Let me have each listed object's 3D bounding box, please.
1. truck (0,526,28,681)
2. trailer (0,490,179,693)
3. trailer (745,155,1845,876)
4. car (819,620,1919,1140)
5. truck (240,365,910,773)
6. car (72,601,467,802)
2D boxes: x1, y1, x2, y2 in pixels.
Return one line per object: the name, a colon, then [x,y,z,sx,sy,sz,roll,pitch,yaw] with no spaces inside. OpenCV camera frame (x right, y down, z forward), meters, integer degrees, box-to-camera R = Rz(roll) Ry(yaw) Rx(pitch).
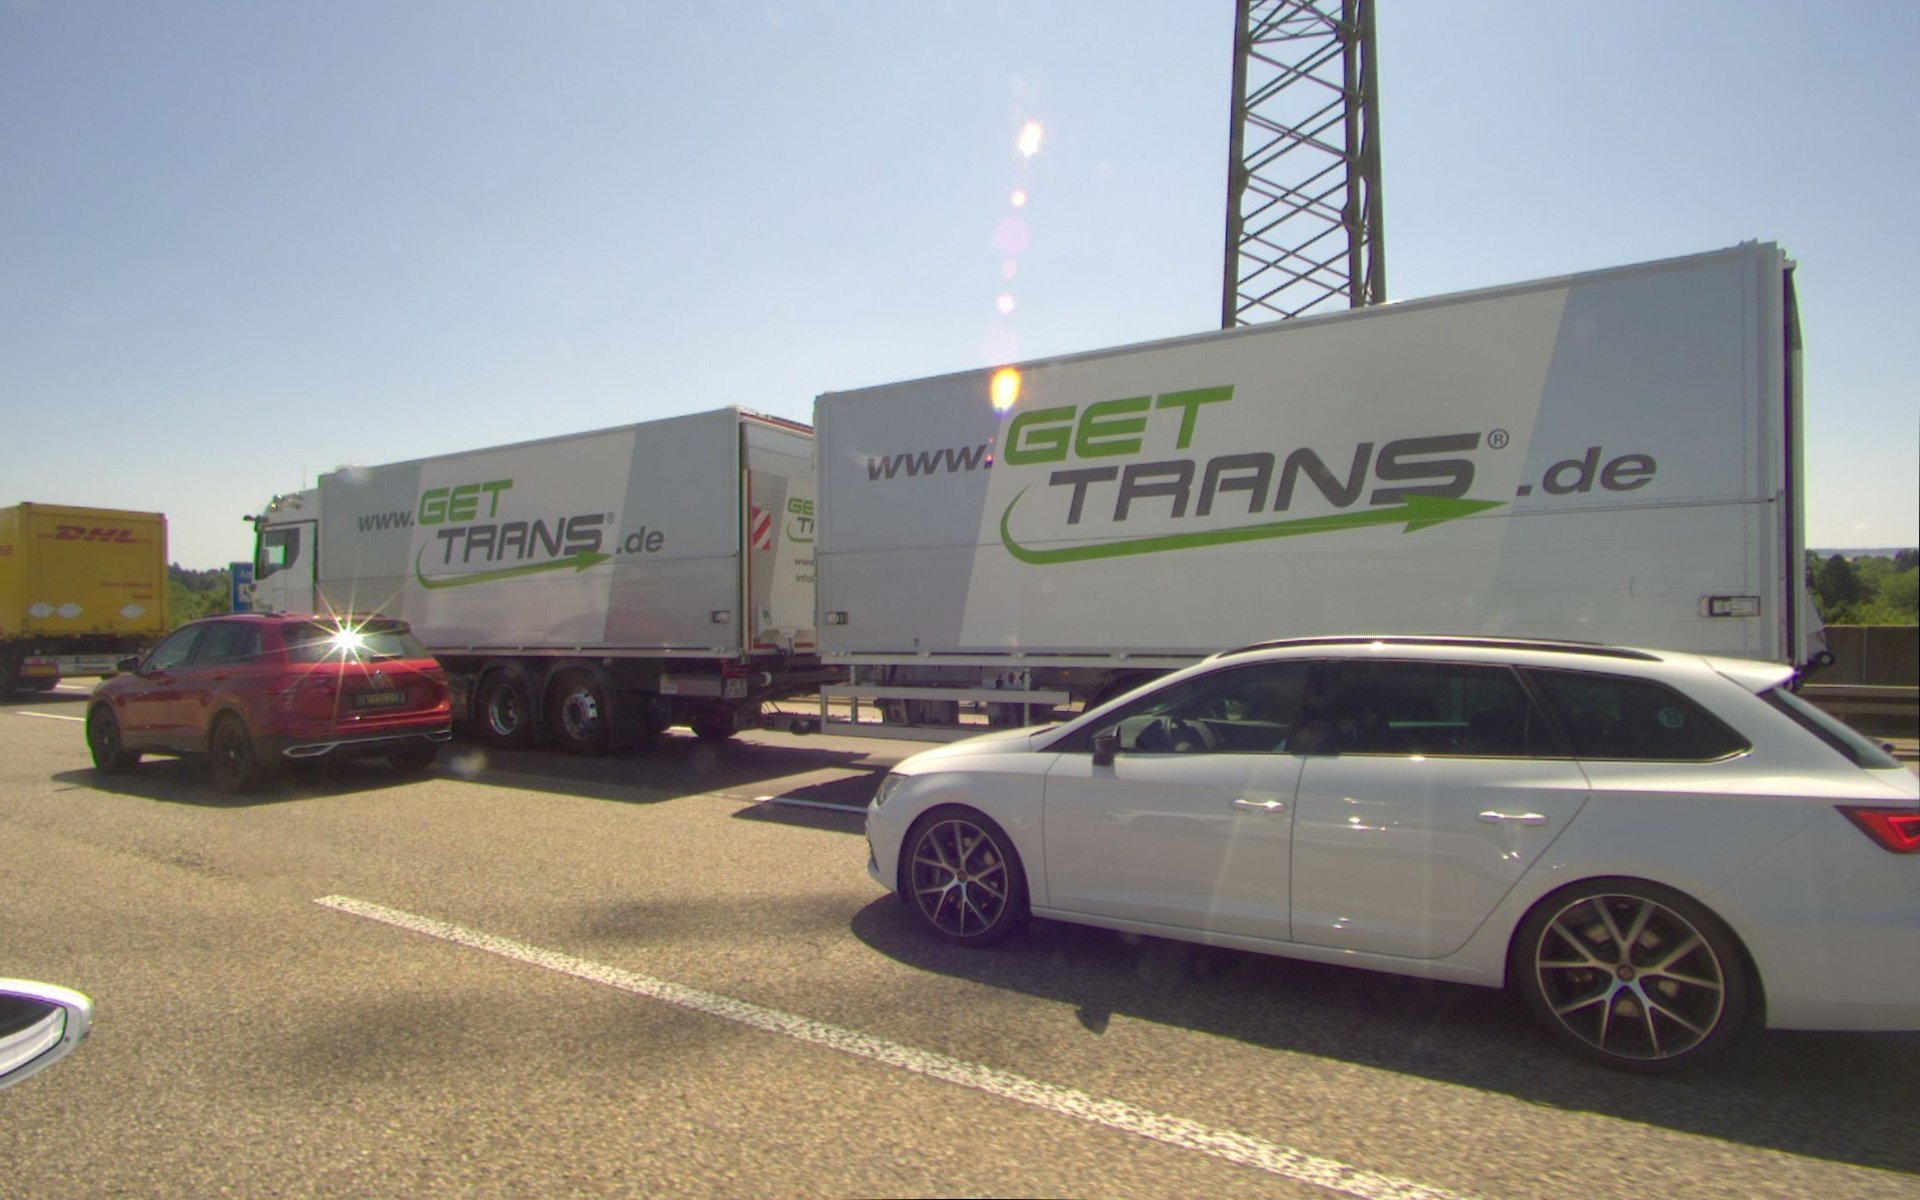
truck: [-30.252,0.183,28.598,9.795,4.139,2.696,-1,-2,31]
trailer: [-22.208,-0.025,23.826,8.849,4.139,2.679,-1,-2,31]
trailer: [2.088,-0.334,8.840,8.096,3.940,2.894,-1,-2,32]
car: [1.601,0.839,4.547,4.364,1.470,1.706,-1,-2,32]
truck: [-5.791,-0.139,13.748,10.457,3.984,2.848,-2,-2,32]
car: [-7.146,0.916,10.272,4.221,1.701,1.706,-1,-1,30]
